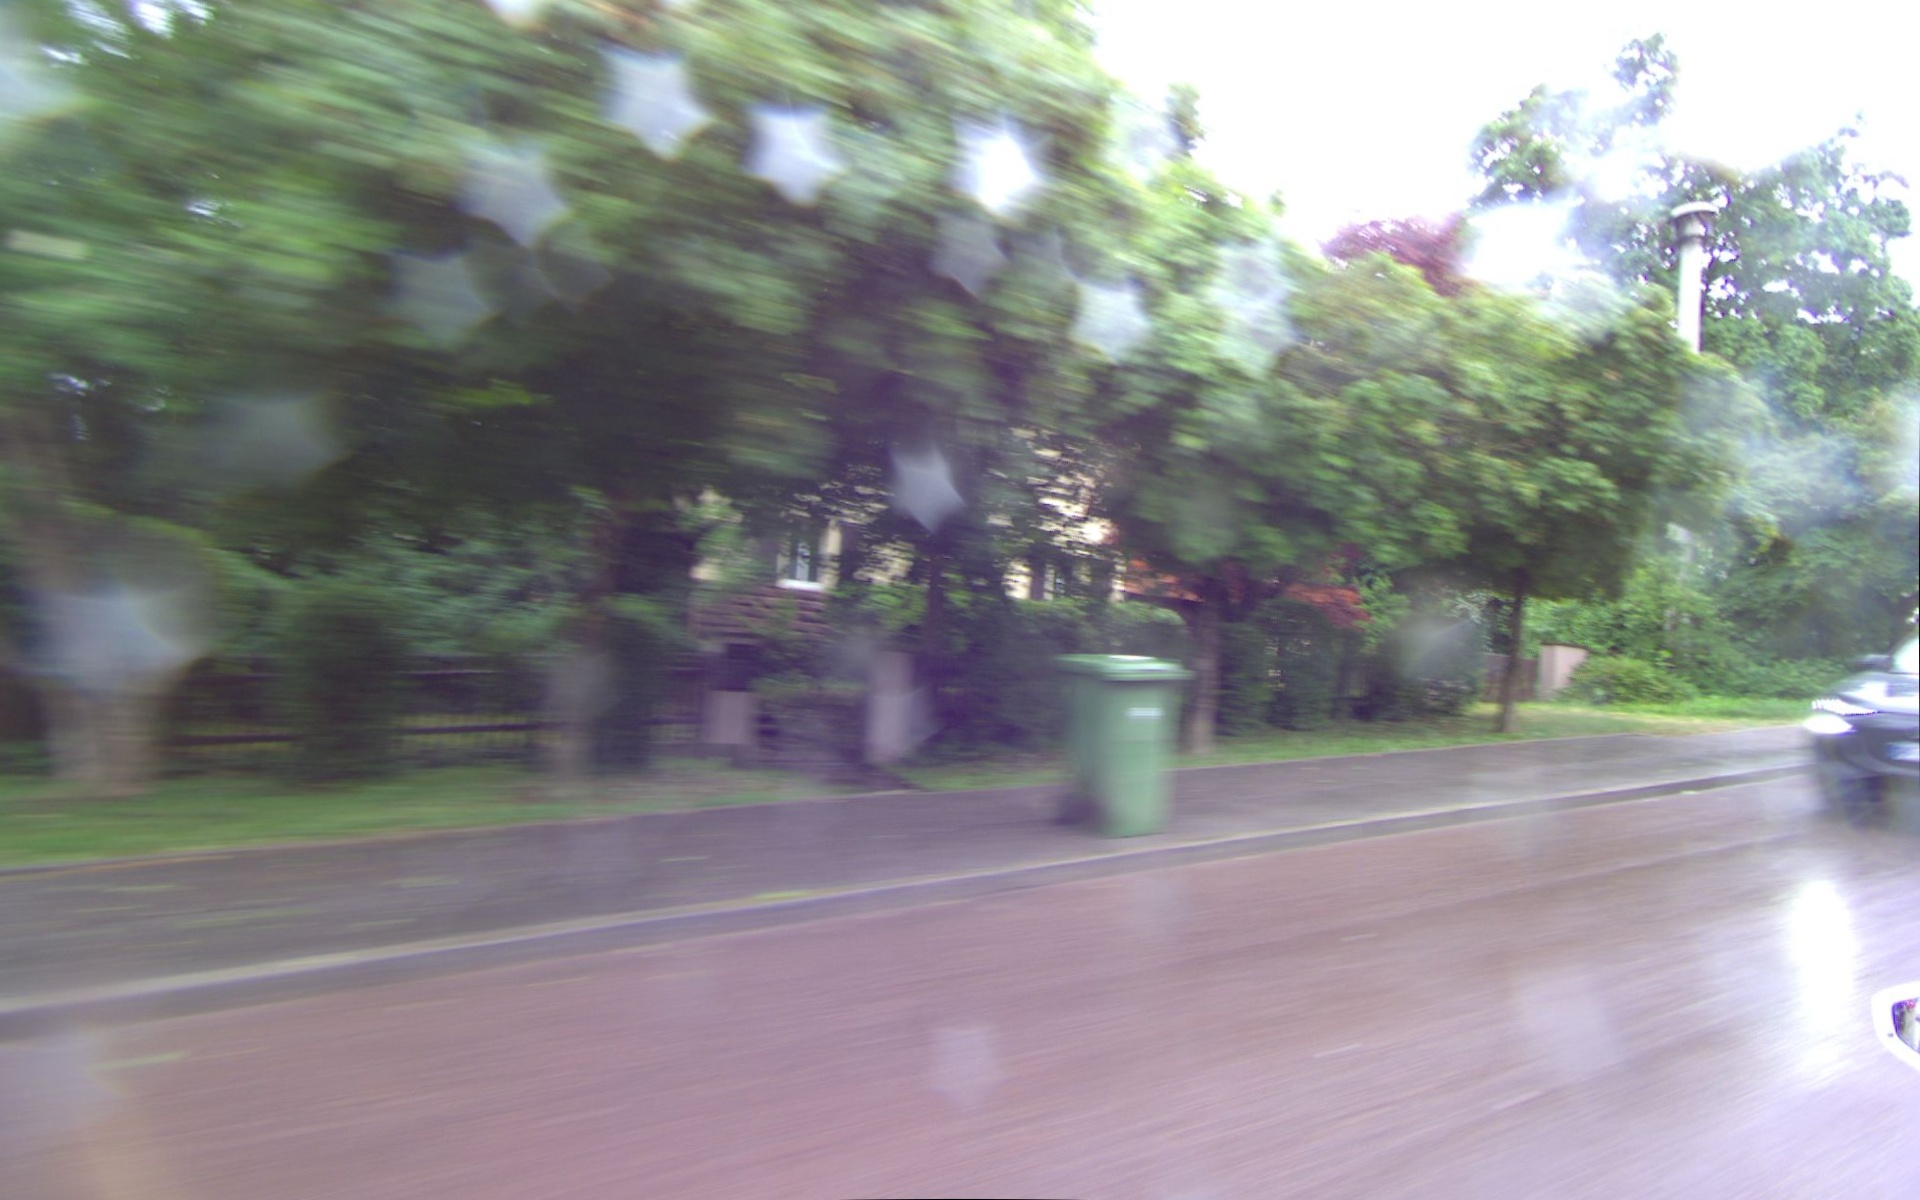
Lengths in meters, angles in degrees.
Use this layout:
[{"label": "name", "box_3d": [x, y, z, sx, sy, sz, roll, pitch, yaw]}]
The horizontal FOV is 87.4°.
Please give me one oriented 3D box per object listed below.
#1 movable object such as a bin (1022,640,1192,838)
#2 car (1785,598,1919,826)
[{"label": "movable object such as a bin", "box_3d": [0.916, 0.829, 6.323, 0.748, 1.114, 0.717, 2, 0, -30]}, {"label": "car", "box_3d": [8.840, 0.872, 8.255, 4.314, 1.645, 1.908, 2, -1, -32]}]
